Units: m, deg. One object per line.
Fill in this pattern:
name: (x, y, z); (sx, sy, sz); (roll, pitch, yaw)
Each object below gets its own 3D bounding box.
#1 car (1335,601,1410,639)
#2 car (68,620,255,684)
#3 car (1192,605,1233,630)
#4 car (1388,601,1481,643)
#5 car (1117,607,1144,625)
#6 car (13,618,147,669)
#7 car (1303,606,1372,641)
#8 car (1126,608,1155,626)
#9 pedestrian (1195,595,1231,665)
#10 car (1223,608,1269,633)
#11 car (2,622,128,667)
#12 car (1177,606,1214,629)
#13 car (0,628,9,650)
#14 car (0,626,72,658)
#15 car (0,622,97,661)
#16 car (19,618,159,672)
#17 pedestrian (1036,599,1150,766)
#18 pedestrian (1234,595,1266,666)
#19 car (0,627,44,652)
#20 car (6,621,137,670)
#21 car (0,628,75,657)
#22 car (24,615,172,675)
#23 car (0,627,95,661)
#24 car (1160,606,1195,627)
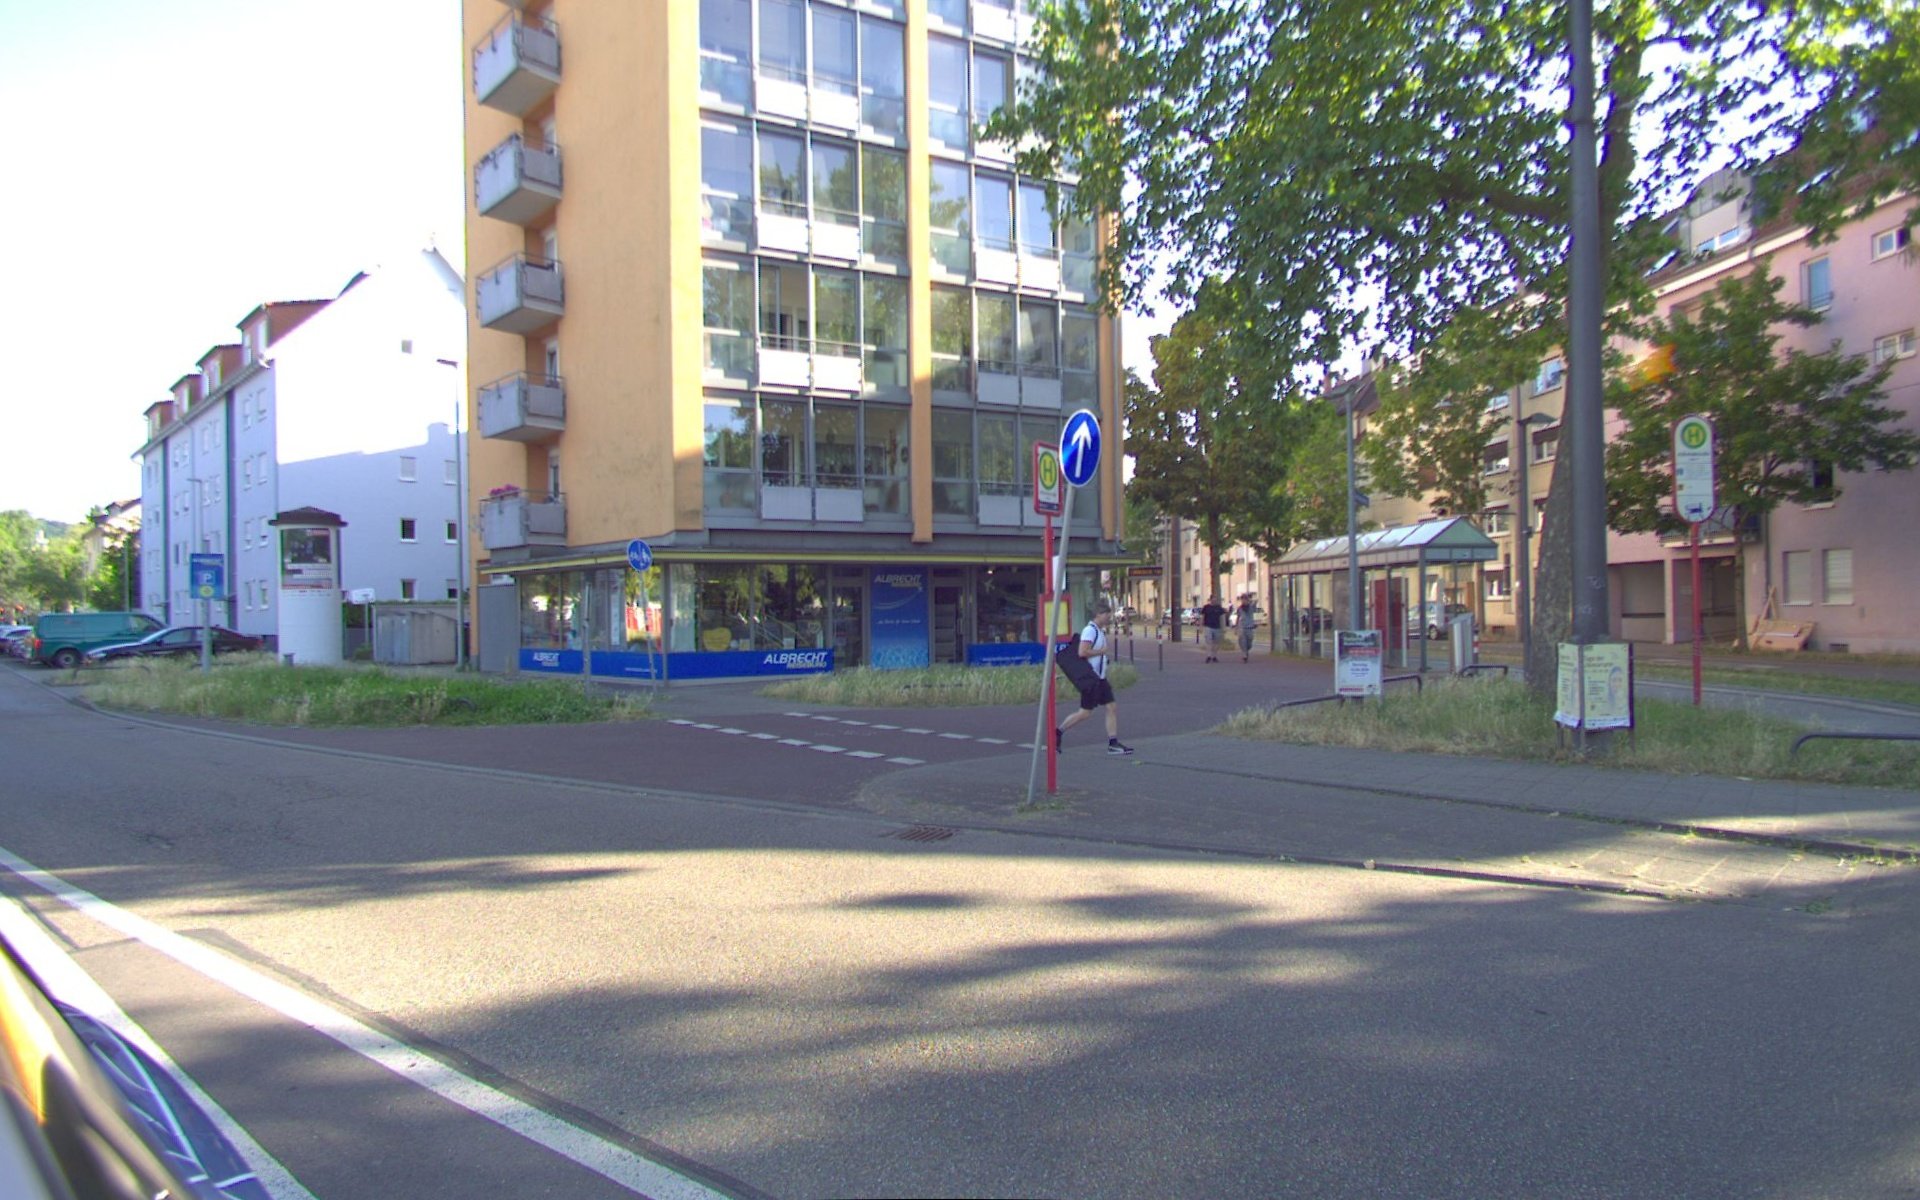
car: (19.906, 0.925, 48.994); (1.911, 1.719, 3.827); (-1, 0, -3)
car: (-24.272, 1.519, 30.873); (4.361, 1.674, 2.003); (-1, 0, -41)
car: (18.705, 1.274, 75.164); (1.808, 1.719, 4.059); (-1, 0, -3)
car: (20.746, 0.914, 44.439); (1.911, 1.719, 4.115); (-1, 0, -3)
car: (17.739, 1.647, 105.483); (1.911, 1.719, 4.372); (-1, 0, -3)
car: (-35.120, 1.685, 40.442); (3.941, 1.829, 2.001); (-1, 0, -44)
car: (19.916, 1.209, 53.607); (1.911, 1.719, 4.115); (-1, 0, -3)
car: (17.784, 1.647, 99.880); (1.911, 1.719, 4.003); (-1, 0, -3)
pedestrian: (6.514, 0.764, 26.040); (0.803, 1.763, 0.538); (-1, 0, 6)
car: (19.172, 1.354, 68.059); (1.741, 1.588, 4.049); (-1, 0, -3)
car: (-38.827, 1.877, 43.938); (4.016, 1.765, 1.900); (-1, 0, -44)
car: (18.643, 1.360, 80.354); (1.771, 1.719, 4.170); (-1, 0, -3)
car: (-74.759, 3.004, 76.971); (3.490, 1.585, 1.867); (-1, 0, -44)
car: (-55.792, 2.487, 60.443); (4.016, 1.765, 1.900); (-1, 0, -44)
car: (-46.117, 2.051, 50.874); (4.061, 1.785, 1.758); (-1, 0, -44)
car: (-33.121, 1.659, 38.539); (3.941, 1.829, 2.001); (-1, 0, -44)
pedestrian: (1.486, 0.868, 11.218); (1.080, 1.750, 0.897); (-1, 0, 19)
pedestrian: (7.300, 0.758, 25.507); (0.622, 1.763, 0.689); (-1, 0, 6)
car: (-63.495, 2.619, 67.002); (4.199, 1.585, 1.867); (-1, 0, -44)
car: (-36.858, 1.819, 42.020); (4.003, 1.829, 1.938); (-1, 0, -44)
car: (-55.659, 2.516, 60.390); (4.199, 1.585, 1.867); (-1, 0, -44)
car: (-31.215, 1.568, 36.696); (2.001, 1.962, 3.942); (-1, 0, 44)
car: (-48.120, 2.288, 52.965); (4.199, 1.585, 1.867); (-1, 0, -44)
car: (18.431, 1.402, 85.808); (1.830, 1.719, 4.170); (-1, 0, -3)
